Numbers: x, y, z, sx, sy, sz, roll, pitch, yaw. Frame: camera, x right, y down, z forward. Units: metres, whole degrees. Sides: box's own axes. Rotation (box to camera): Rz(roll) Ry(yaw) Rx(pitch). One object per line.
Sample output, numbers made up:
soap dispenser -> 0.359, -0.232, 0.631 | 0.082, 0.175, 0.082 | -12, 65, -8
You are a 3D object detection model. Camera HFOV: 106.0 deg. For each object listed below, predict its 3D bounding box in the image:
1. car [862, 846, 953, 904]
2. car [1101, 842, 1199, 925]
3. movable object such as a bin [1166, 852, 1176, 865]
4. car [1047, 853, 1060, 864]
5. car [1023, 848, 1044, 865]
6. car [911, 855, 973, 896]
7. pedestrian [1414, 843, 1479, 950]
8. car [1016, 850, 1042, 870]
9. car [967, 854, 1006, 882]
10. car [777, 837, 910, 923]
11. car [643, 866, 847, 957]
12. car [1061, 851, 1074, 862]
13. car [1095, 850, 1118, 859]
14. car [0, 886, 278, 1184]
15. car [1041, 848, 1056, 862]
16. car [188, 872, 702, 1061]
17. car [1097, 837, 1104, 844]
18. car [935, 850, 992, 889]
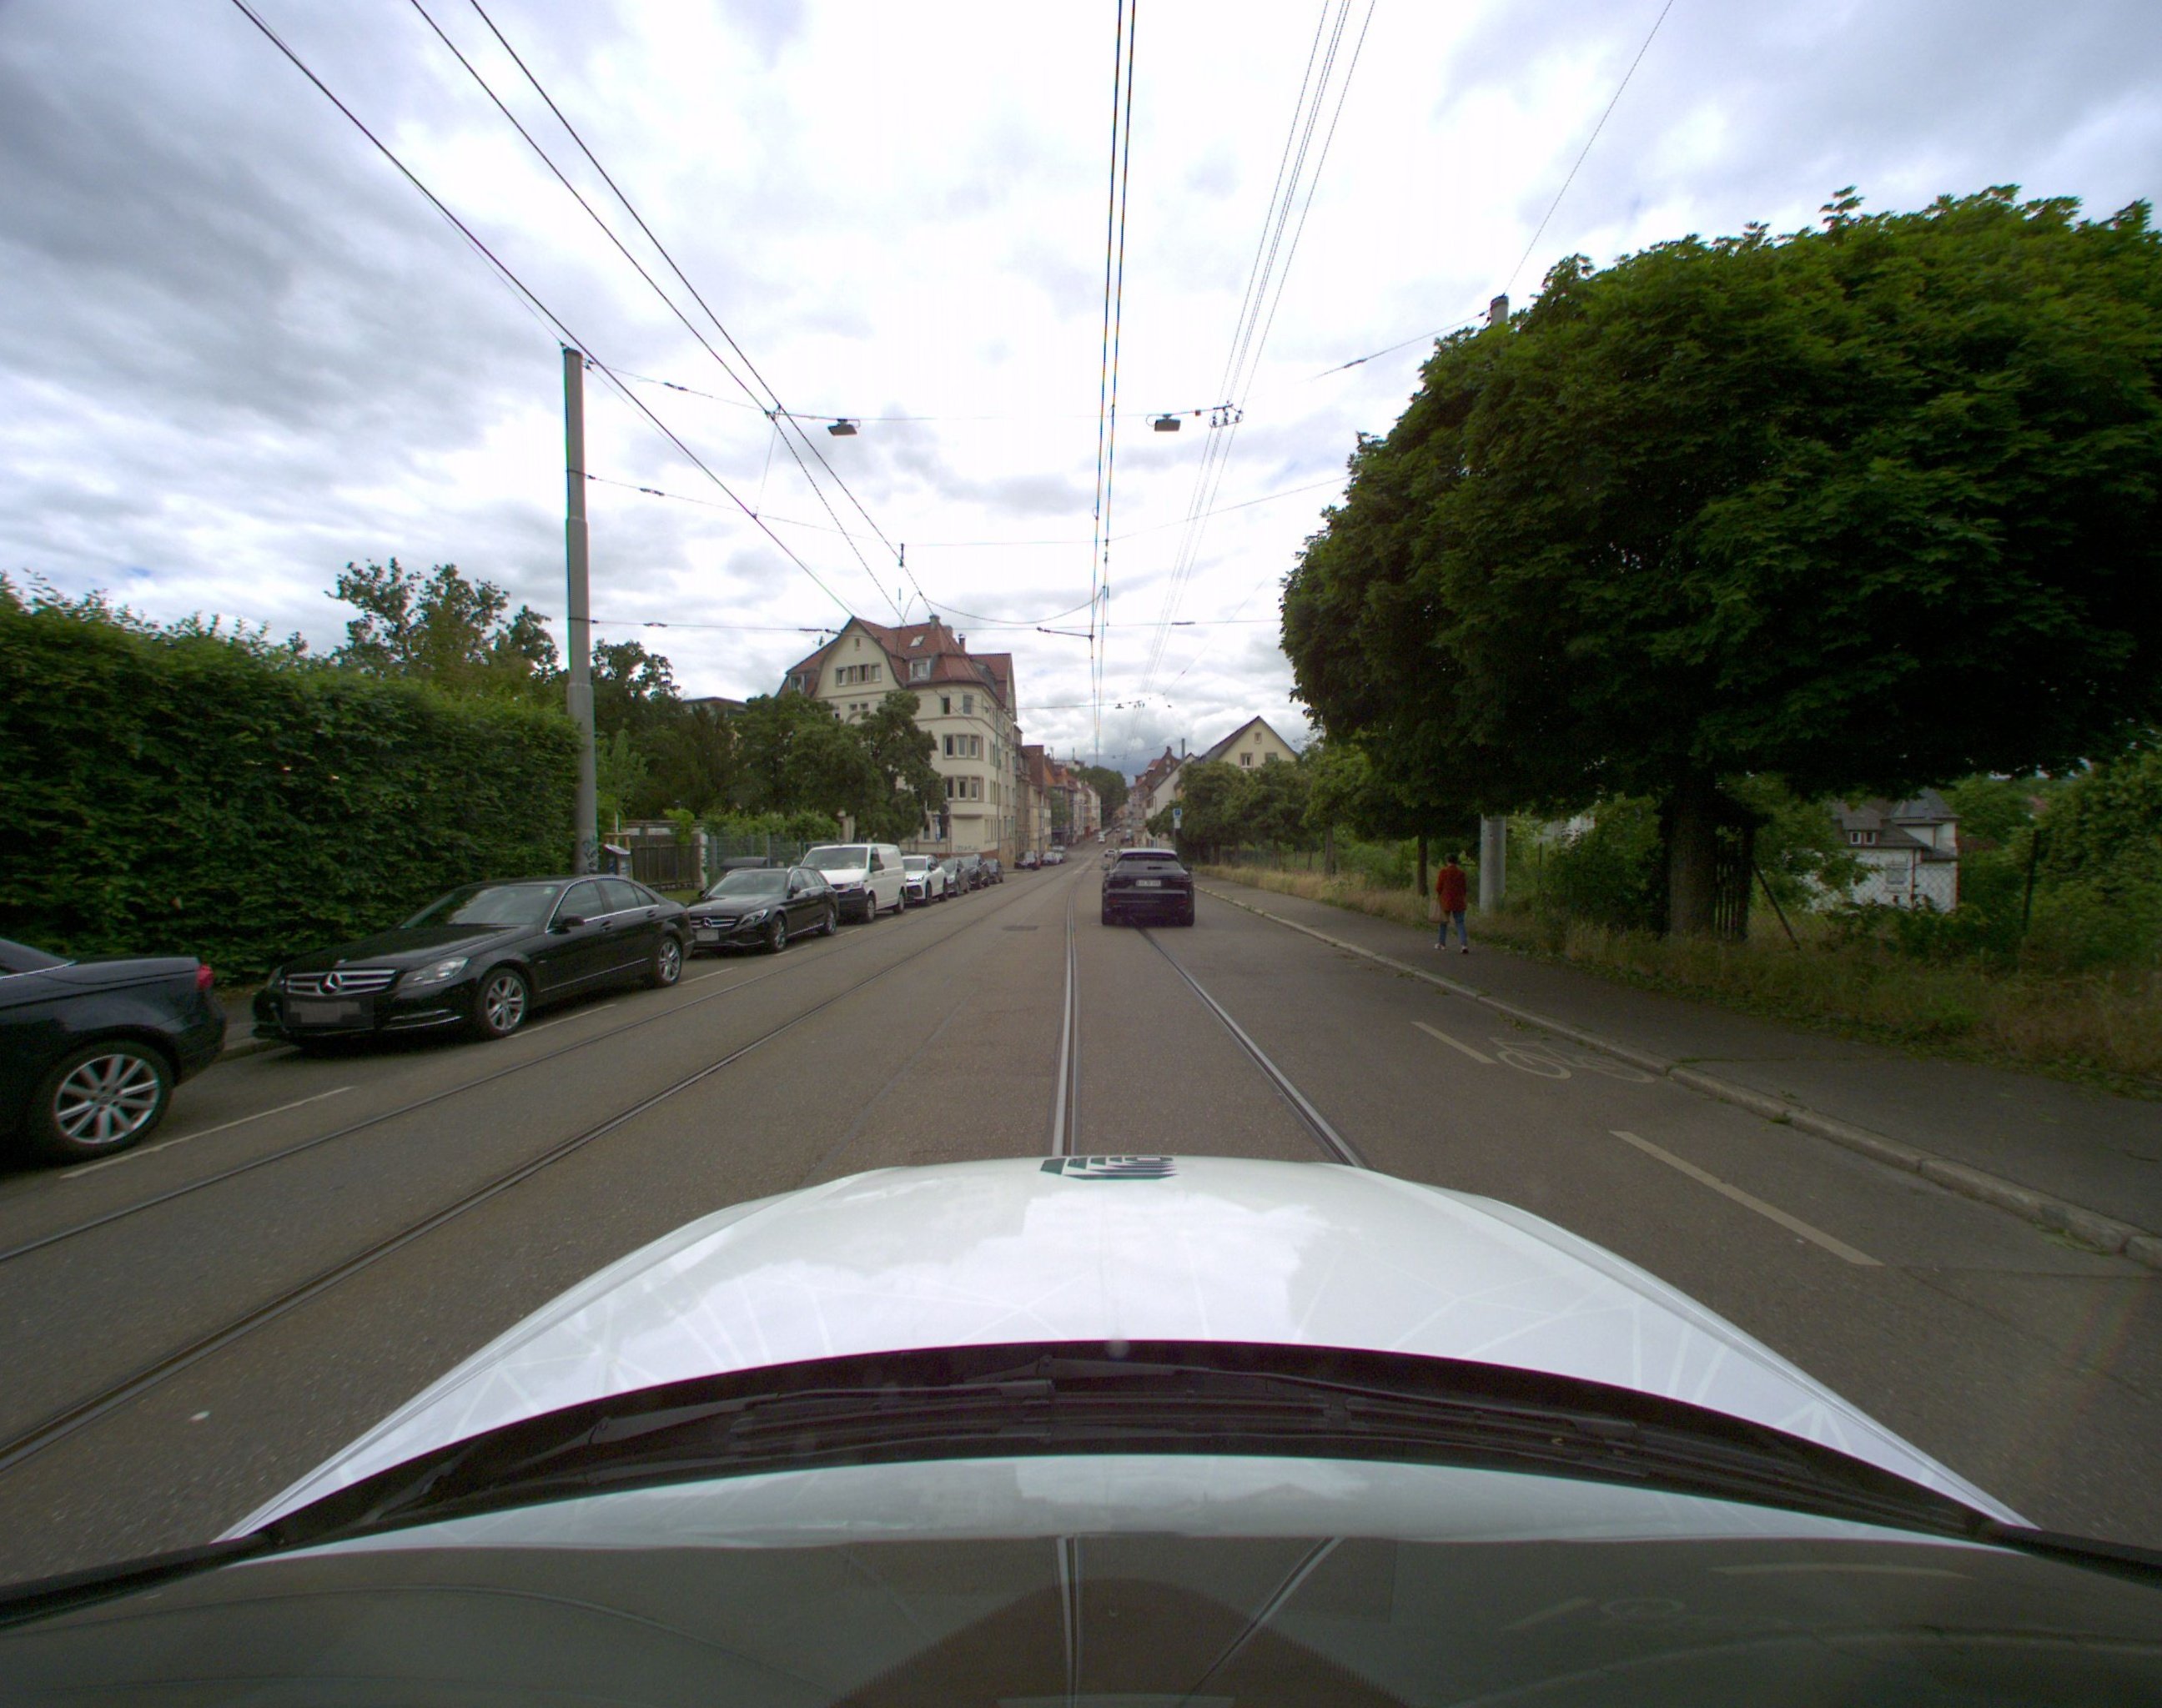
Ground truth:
car -> -5.594, 0.662, 26.848 | 1.962, 1.686, 4.633 | -1, -1, 0
car -> 1.467, 0.611, 18.582 | 1.986, 1.676, 4.001 | 0, 0, 1
movable object such as a bin -> 8.630, 0.460, 77.967 | 0.790, 1.218, 0.788 | 0, 0, -2
car -> -3.535, 0.604, 105.189 | 1.615, 1.463, 3.684 | -1, -1, 0
car -> -4.415, 0.269, 75.956 | 1.615, 1.463, 3.745 | -1, -1, 0
car -> -5.433, 0.821, 32.318 | 1.732, 1.509, 3.869 | -1, -1, 0
pedestrian -> 5.697, 0.644, 12.724 | 0.712, 1.621, 0.719 | 0, 0, 1
car -> -4.446, 0.552, 70.120 | 1.861, 1.646, 4.402 | -1, -1, 0
car -> -5.171, 0.762, 45.020 | 1.615, 1.477, 4.156 | -1, -1, 0
car -> -5.876, 0.613, 20.820 | 1.962, 1.913, 4.734 | -1, -1, 0
car -> -5.905, 0.926, 14.990 | 1.834, 1.387, 4.518 | -1, -1, 0
car -> -1.902, 0.398, 113.854 | 1.615, 1.473, 4.555 | -1, -1, 0
car -> 4.940, 0.056, 157.194 | 3.790, 1.769, 2.011 | 0, 0, 25
car -> -6.133, 0.898, 3.203 | 1.784, 1.404, 4.161 | -1, -1, 0
car -> -3.756, 0.128, 94.522 | 1.615, 1.463, 4.033 | -1, -1, 0
car -> -5.950, 0.914, 8.511 | 1.834, 1.387, 4.440 | -1, -1, 0
car -> 5.325, -3.669, 221.634 | 1.744, 1.760, 4.256 | 0, 0, 2
car -> -5.431, 0.707, 38.272 | 1.962, 1.686, 4.444 | -1, -1, 0
